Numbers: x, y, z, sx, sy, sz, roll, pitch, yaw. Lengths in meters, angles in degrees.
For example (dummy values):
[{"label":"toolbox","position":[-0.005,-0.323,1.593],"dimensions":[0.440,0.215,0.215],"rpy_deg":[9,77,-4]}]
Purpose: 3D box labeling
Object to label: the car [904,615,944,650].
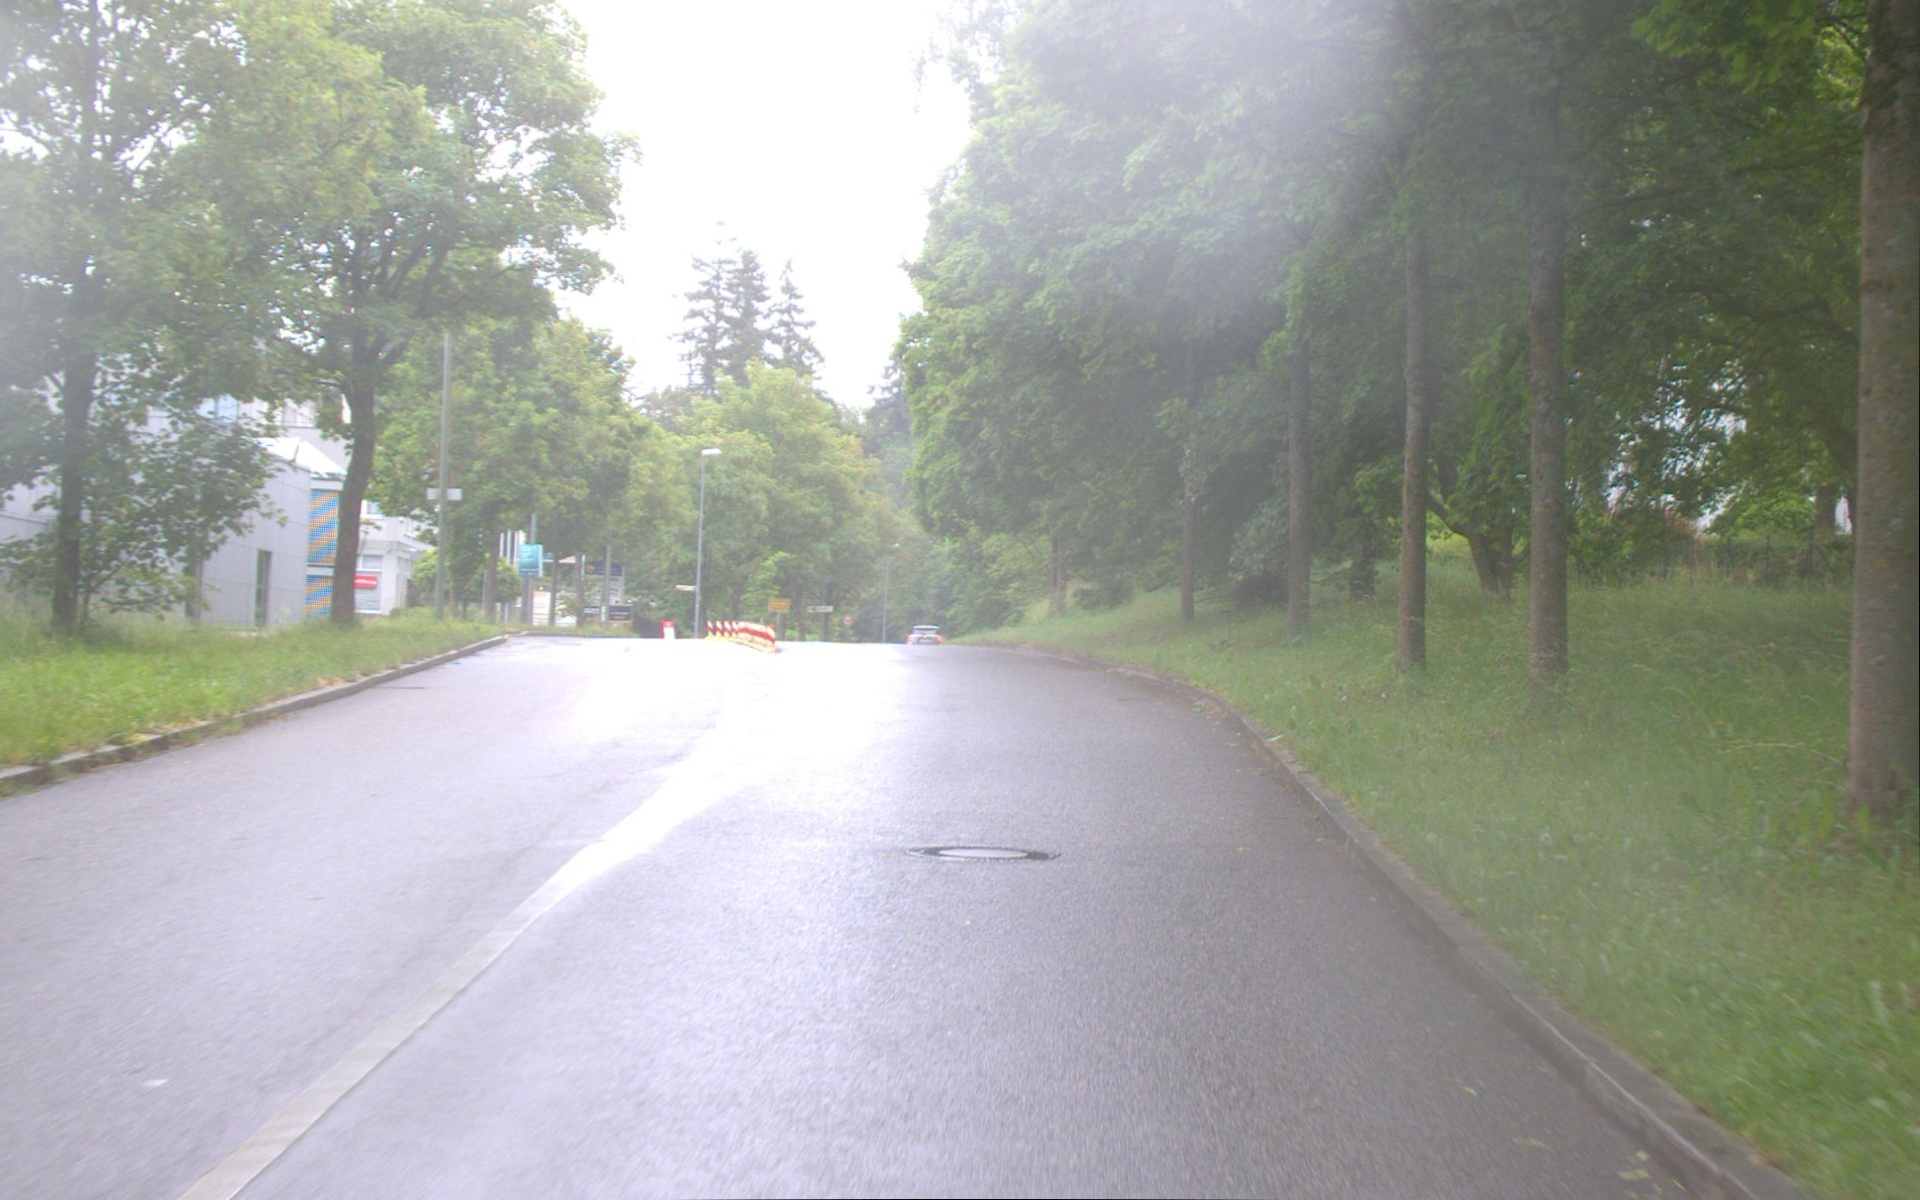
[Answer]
[{"label":"car","position":[-1.608,1.472,154.473],"dimensions":[1.736,1.505,4.000],"rpy_deg":[0,-2,0]}]
